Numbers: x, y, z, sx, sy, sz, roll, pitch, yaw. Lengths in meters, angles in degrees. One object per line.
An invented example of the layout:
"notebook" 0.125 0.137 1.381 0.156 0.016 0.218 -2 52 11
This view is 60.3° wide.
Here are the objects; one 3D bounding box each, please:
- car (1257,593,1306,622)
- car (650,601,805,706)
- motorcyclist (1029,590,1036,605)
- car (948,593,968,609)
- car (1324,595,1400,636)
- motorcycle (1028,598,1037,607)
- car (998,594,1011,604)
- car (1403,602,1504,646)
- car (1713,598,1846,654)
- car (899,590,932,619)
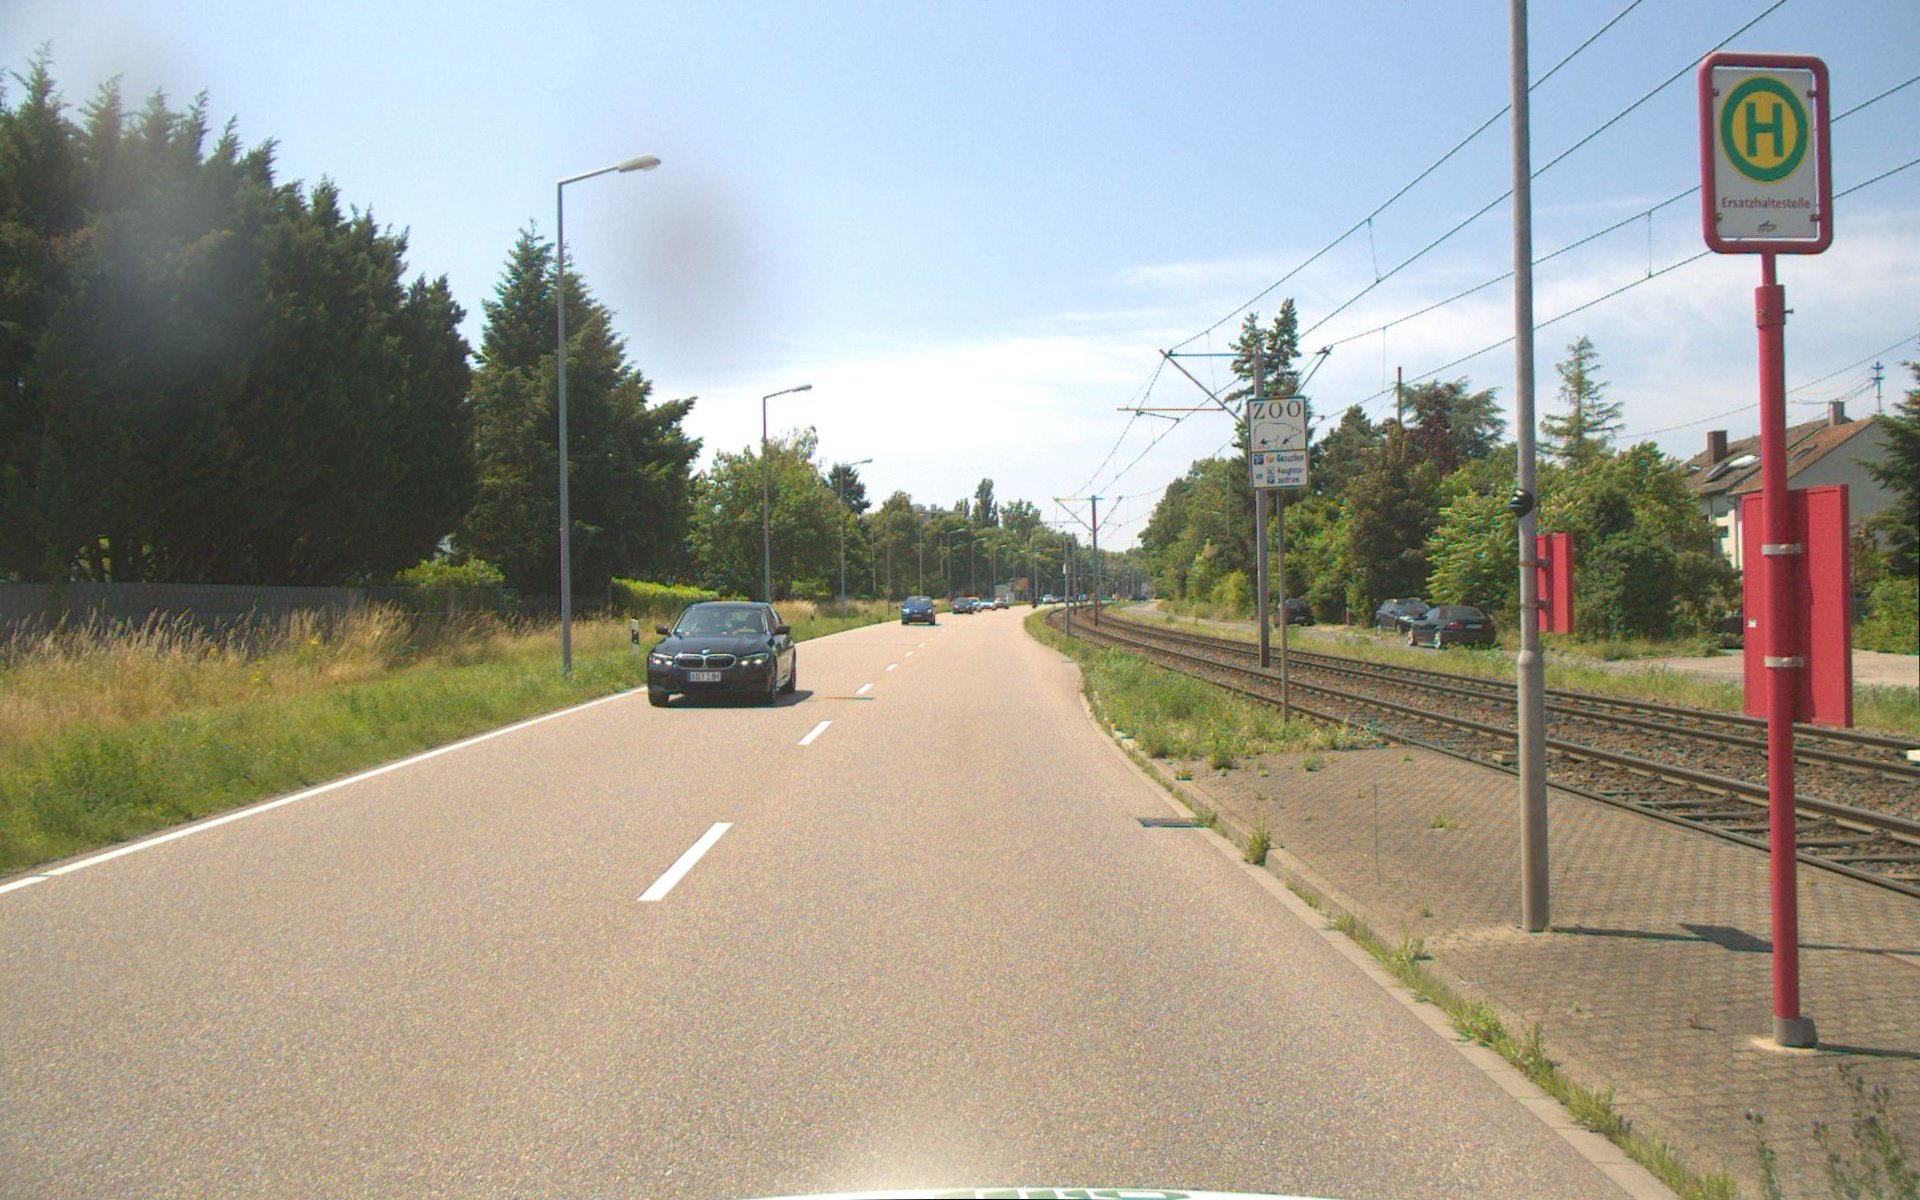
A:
"car" 16.747 0.398 86.279 1.874 1.496 4.001 0 0 1
"car" -3.396 0.729 24.911 1.671 1.429 4.707 0 0 0
"motorcyclist" 9.487 -0.275 215.990 0.872 1.938 1.016 0 0 6
"car" -0.167 0.105 153.792 1.665 1.517 4.441 0 0 1
"car" 16.305 0.606 67.293 1.895 1.588 4.555 0 0 -1
"motorcycle" 9.439 0.315 215.910 0.949 1.137 2.734 0 0 6
"car" 5.621 -0.137 208.850 1.713 1.324 4.254 0 0 2
"car" 15.807 0.742 53.208 1.823 1.353 4.514 0 0 -1
"car" 21.944 0.676 44.453 1.685 1.444 3.738 0 0 -1
"car" -2.529 0.252 95.060 1.711 1.660 4.030 0 0 1
